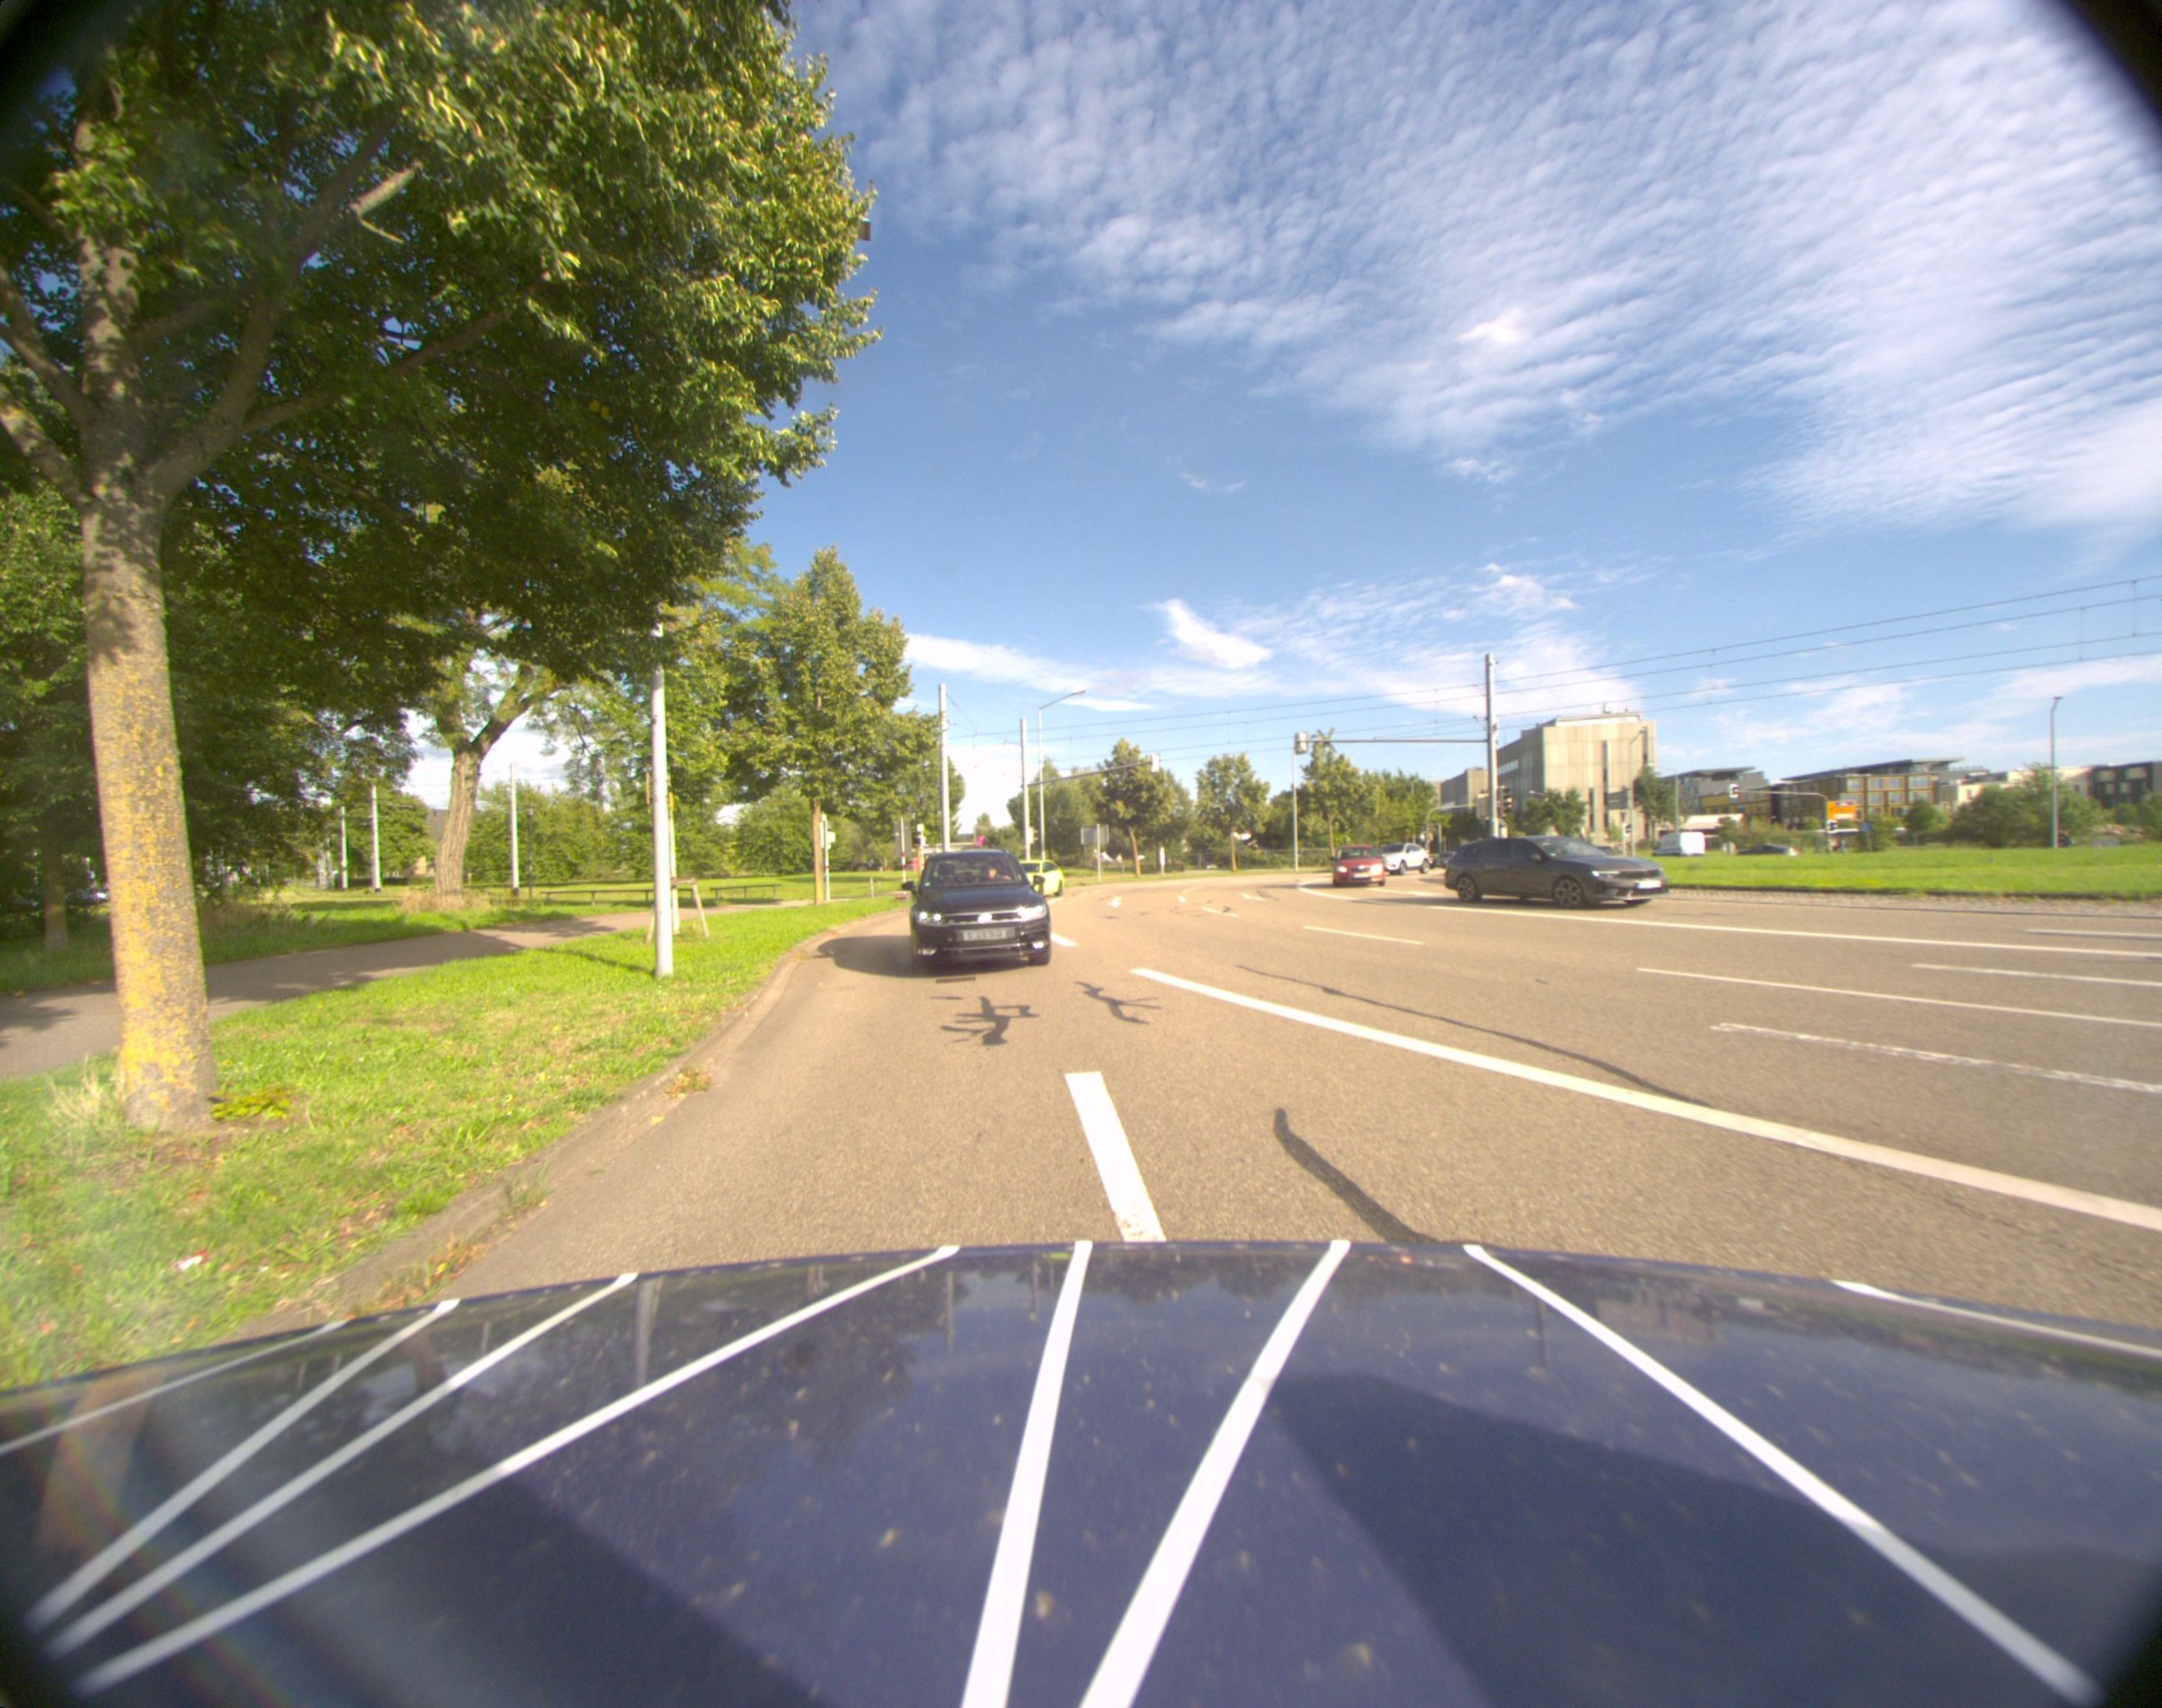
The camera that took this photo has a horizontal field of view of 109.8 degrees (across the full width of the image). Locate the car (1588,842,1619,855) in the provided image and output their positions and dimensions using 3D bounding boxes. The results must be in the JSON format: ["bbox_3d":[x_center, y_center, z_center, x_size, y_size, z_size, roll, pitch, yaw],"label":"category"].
[{"bbox_3d":[62.886,-0.614,91.498,1.683,1.492,3.998,0,0,12],"label":"car"}]

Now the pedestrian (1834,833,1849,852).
[{"bbox_3d":[65.247,-0.993,65.175,0.627,1.620,0.658,-3,0,17],"label":"pedestrian"}]

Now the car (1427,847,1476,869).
[{"bbox_3d":[30.793,0.295,63.048,4.812,1.652,1.994,-2,0,-43],"label":"car"}]

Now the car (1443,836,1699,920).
[{"bbox_3d":[9.825,0.448,15.750,1.825,1.412,4.443,-3,0,-12],"label":"car"}]

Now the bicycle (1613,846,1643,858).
[{"bbox_3d":[47.404,-0.155,65.864,1.957,1.001,1.003,-2,0,19],"label":"bicycle"}]

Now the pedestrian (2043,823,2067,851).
[{"bbox_3d":[69.760,-1.219,54.406,0.868,1.905,0.894,-4,0,-44],"label":"pedestrian"}]

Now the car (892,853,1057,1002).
[{"bbox_3d":[-1.543,0.859,11.466,1.873,1.685,5.011,-2,0,-7],"label":"car"}]

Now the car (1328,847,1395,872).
[{"bbox_3d":[20.958,0.409,56.681,4.810,1.652,1.996,-2,0,-28],"label":"car"}]

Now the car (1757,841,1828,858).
[{"bbox_3d":[54.257,-0.357,58.041,1.684,1.258,3.994,0,0,1],"label":"car"}]

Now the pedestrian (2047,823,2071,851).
[{"bbox_3d":[69.155,-1.185,53.736,0.868,1.905,0.894,-4,0,-44],"label":"pedestrian"}]

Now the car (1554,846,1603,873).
[{"bbox_3d":[33.983,0.333,51.846,1.994,1.652,4.813,-1,1,43],"label":"car"}]

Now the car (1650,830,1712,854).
[{"bbox_3d":[58.886,-1.115,74.750,2.063,2.250,6.028,0,0,9],"label":"car"}]

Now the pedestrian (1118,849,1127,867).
[{"bbox_3d":[4.143,0.404,75.742,0.595,1.722,0.669,-1,1,43],"label":"pedestrian"}]

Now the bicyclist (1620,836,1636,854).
[{"bbox_3d":[47.423,-0.803,65.829,0.864,1.547,0.999,-1,0,19],"label":"bicyclist"}]

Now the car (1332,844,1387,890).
[{"bbox_3d":[9.959,0.424,27.268,1.691,1.466,4.233,-2,0,19],"label":"car"}]

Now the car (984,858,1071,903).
[{"bbox_3d":[-1.880,0.934,28.461,1.894,1.412,4.612,-3,0,13],"label":"car"}]

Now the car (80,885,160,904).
[{"bbox_3d":[-94.192,3.936,74.536,4.476,1.532,1.855,-2,1,-34],"label":"car"}]

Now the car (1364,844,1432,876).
[{"bbox_3d":[15.919,0.295,38.031,1.690,1.466,4.235,-1,0,44],"label":"car"}]
